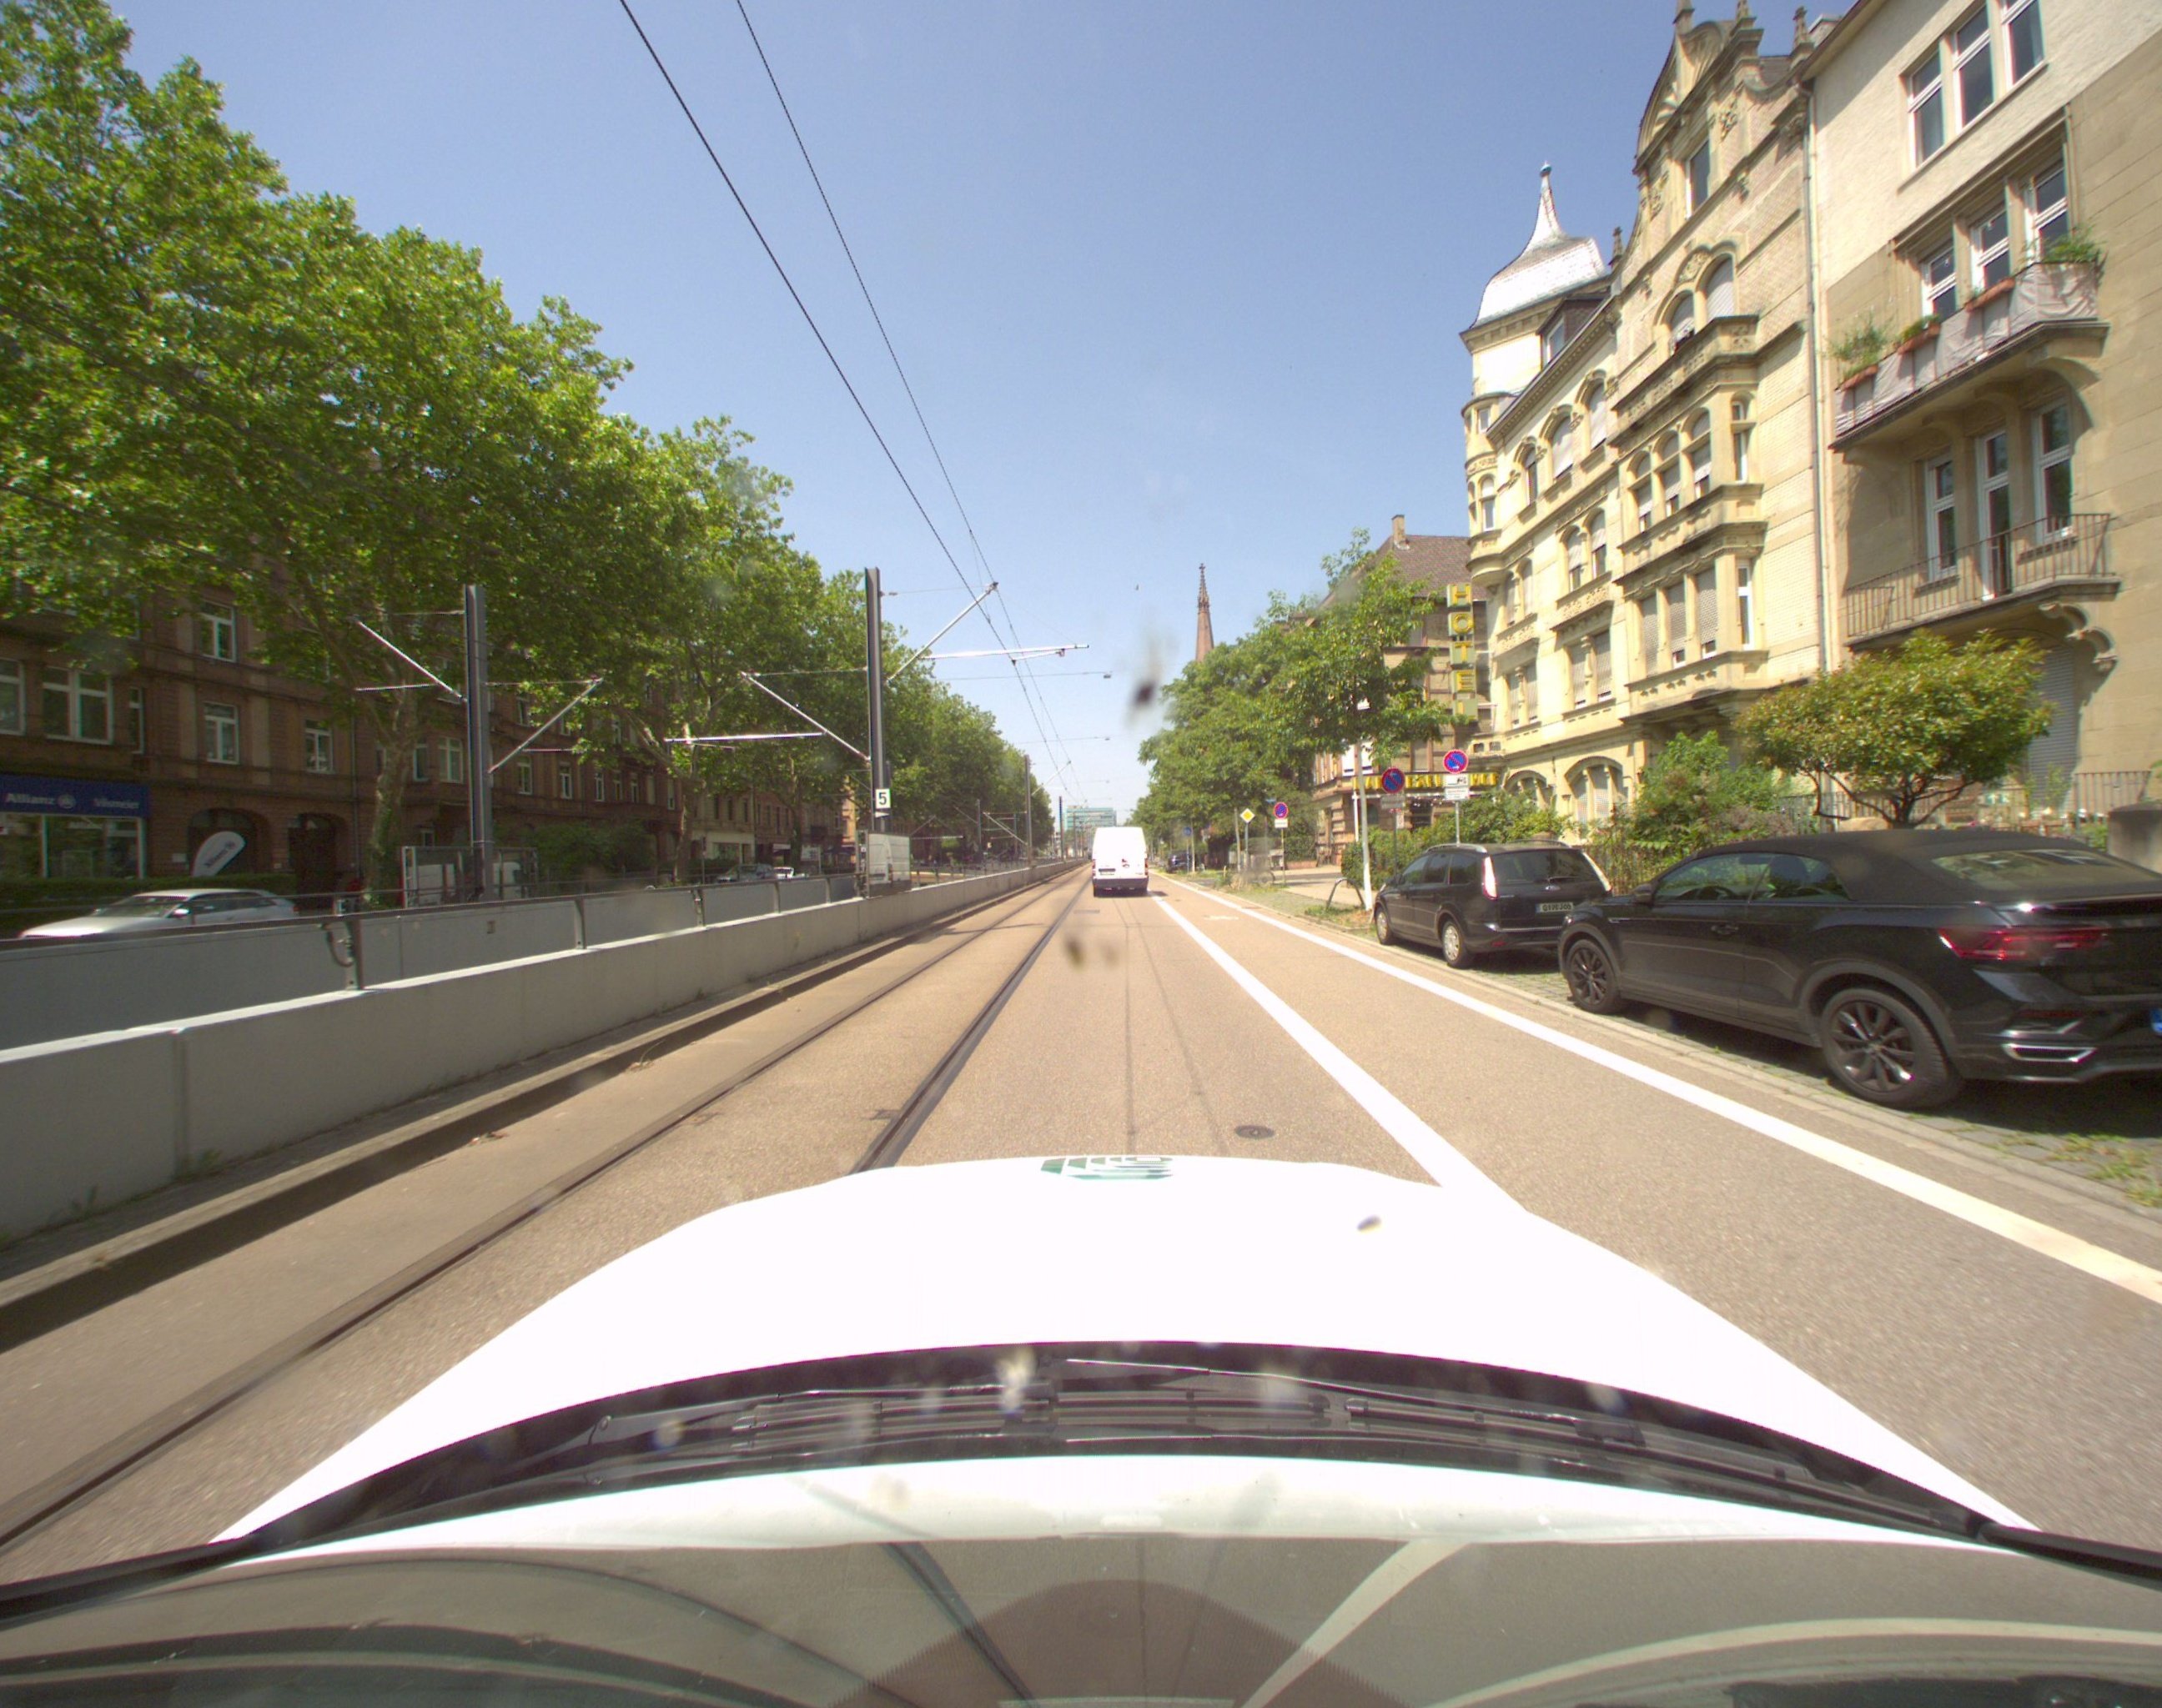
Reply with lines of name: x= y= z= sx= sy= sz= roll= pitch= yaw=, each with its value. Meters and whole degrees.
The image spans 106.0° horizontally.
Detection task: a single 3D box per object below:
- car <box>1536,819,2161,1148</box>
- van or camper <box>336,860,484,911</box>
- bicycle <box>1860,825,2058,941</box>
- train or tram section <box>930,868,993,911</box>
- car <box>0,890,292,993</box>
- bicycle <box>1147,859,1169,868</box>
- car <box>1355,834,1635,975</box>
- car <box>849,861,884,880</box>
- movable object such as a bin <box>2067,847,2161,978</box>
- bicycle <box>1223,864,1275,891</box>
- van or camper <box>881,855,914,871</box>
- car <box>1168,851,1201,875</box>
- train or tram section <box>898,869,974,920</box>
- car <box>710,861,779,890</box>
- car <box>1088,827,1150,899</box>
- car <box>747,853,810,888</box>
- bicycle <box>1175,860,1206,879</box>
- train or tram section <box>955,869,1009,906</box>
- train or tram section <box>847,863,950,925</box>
car: x=5.247 y=0.598 z=5.876 sx=1.661 sy=1.530 sz=4.013 roll=-2 pitch=0 yaw=0
van or camper: x=-26.929 y=1.241 z=32.754 sx=4.519 sy=1.836 sz=1.936 roll=-2 pitch=0 yaw=7
bicycle: x=9.666 y=0.318 z=8.988 sx=1.683 sy=1.076 sz=0.343 roll=-6 pitch=-1 yaw=1
train or tram section: x=-8.009 y=2.296 z=55.551 sx=2.719 sy=2.509 sz=8.493 roll=-2 pitch=0 yaw=2
car: x=-18.898 y=1.681 z=16.754 sx=1.648 sy=1.684 sz=3.708 roll=-2 pitch=0 yaw=1
bicycle: x=7.682 y=0.902 z=80.742 sx=1.548 sy=0.826 sz=4.016 roll=-2 pitch=0 yaw=15
car: x=5.386 y=0.573 z=11.338 sx=1.723 sy=1.536 sz=4.405 roll=-2 pitch=0 yaw=1
car: x=-17.495 y=1.296 z=66.624 sx=1.586 sy=1.448 sz=4.002 roll=-2 pitch=0 yaw=2
movable object such as a bin: x=9.718 y=0.501 z=7.240 sx=0.799 sy=1.069 sz=0.830 roll=-5 pitch=-1 yaw=2
bicycle: x=6.337 y=0.884 z=30.762 sx=1.834 sy=0.953 sz=0.503 roll=-2 pitch=0 yaw=3
van or camper: x=-24.789 y=1.259 z=110.231 sx=3.975 sy=2.013 sz=1.999 roll=-2 pitch=0 yaw=-1
car: x=7.680 y=0.649 z=60.677 sx=2.147 sy=1.670 sz=4.004 roll=-2 pitch=0 yaw=4
train or tram section: x=-8.252 y=2.237 z=47.367 sx=2.719 sy=2.509 sz=8.006 roll=-2 pitch=0 yaw=2
car: x=-17.726 y=1.116 z=43.120 sx=1.845 sy=1.401 sz=4.198 roll=-2 pitch=0 yaw=1
car: x=1.445 y=0.318 z=31.225 sx=2.109 sy=2.459 sz=5.057 roll=-2 pitch=0 yaw=2
car: x=-17.716 y=0.939 z=47.891 sx=1.986 sy=1.904 sz=4.149 roll=-2 pitch=0 yaw=1
bicycle: x=6.985 y=0.978 z=52.038 sx=1.881 sy=1.182 sz=0.640 roll=-2 pitch=0 yaw=0
train or tram section: x=-7.730 y=2.536 z=64.795 sx=2.719 sy=2.509 sz=10.092 roll=-2 pitch=0 yaw=2
train or tram section: x=-8.510 y=1.774 z=39.159 sx=2.719 sy=2.509 sz=8.520 roll=-2 pitch=0 yaw=2
